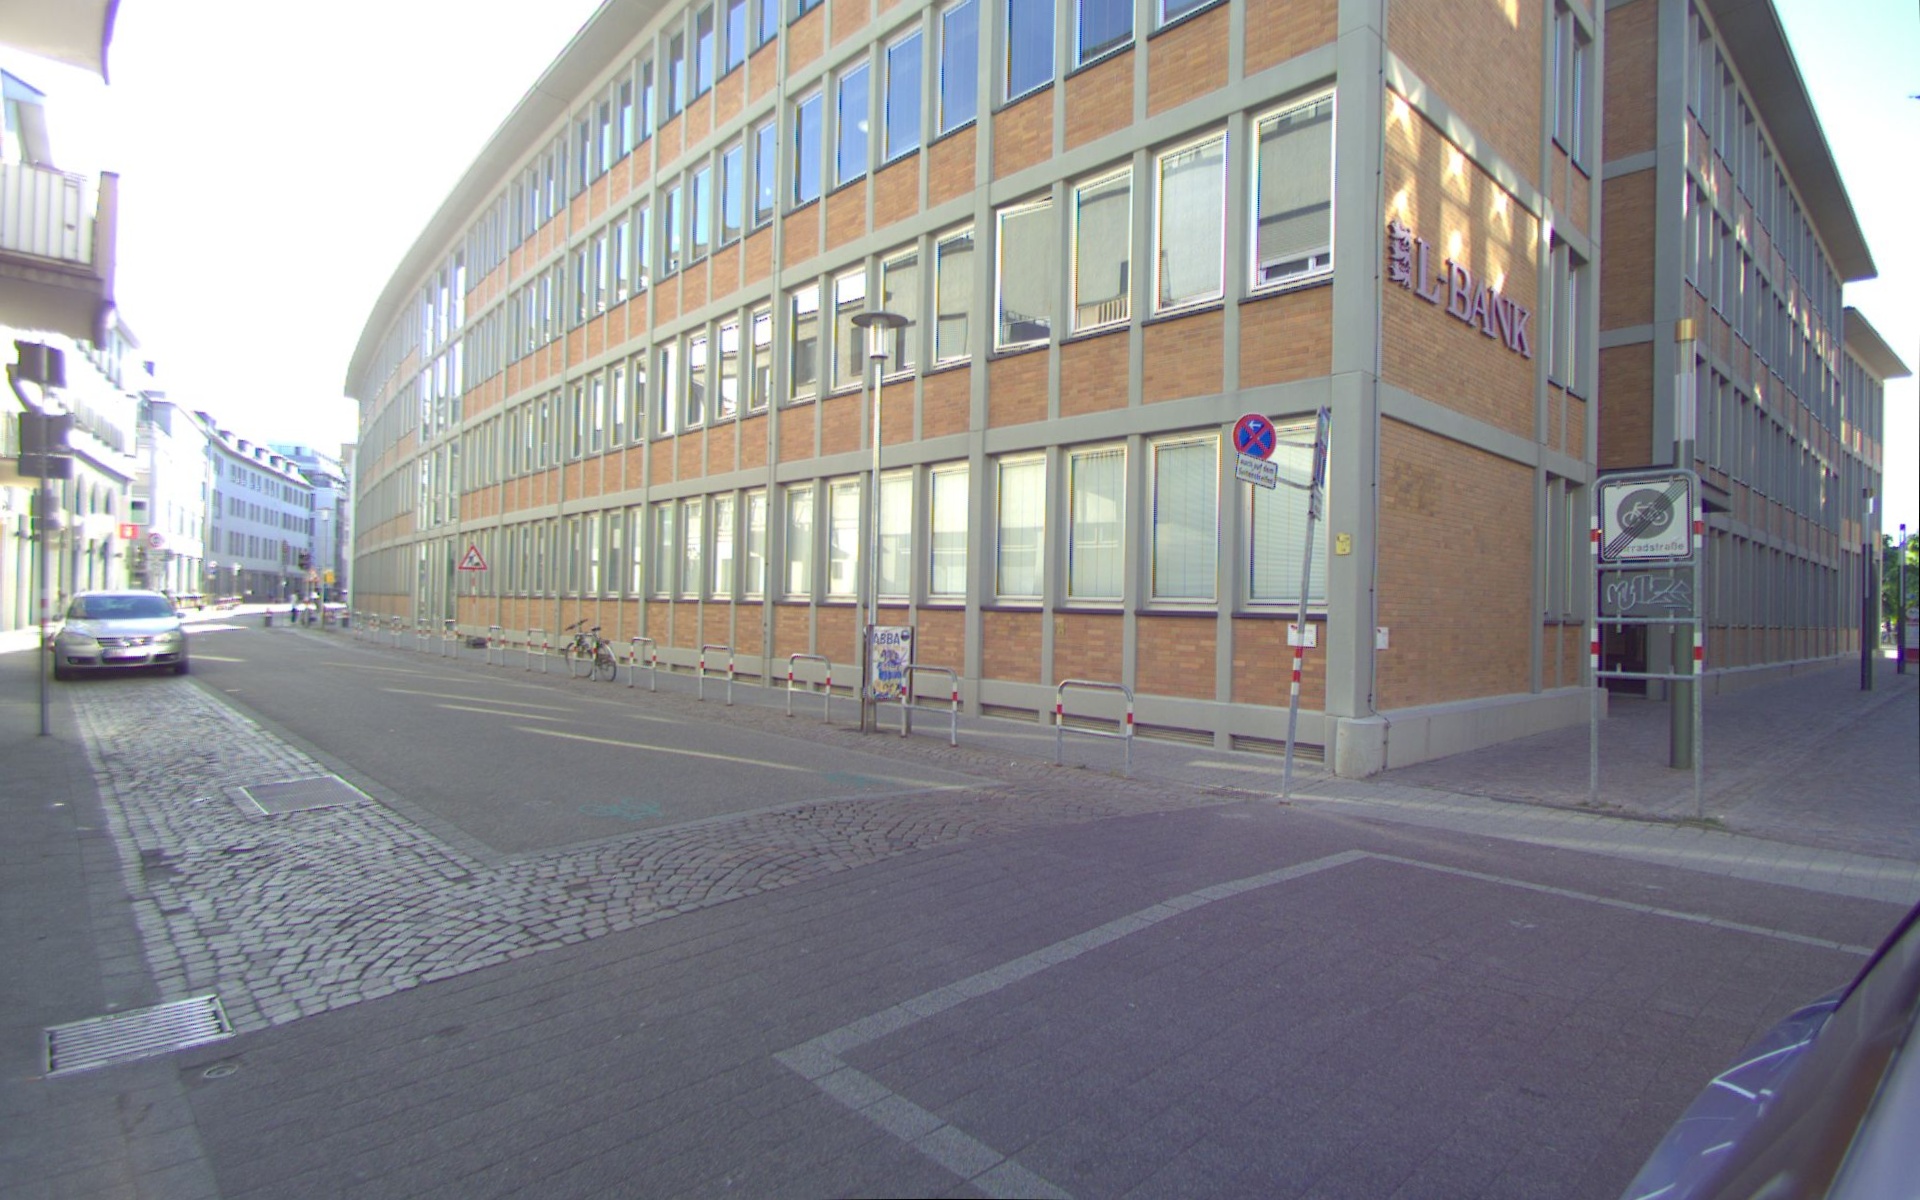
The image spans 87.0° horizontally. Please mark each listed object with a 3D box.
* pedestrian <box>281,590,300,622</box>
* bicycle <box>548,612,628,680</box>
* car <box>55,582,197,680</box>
[{"bbox_3d":[-31.204,0.272,47.143,0.648,1.459,0.595,1,-1,-41],"label":"pedestrian"},{"bbox_3d":[-6.719,0.796,18.227,0.627,1.130,1.926,1,0,-43],"label":"bicycle"},{"bbox_3d":[-14.603,0.448,17.657,1.741,1.488,3.806,-1,2,-42],"label":"car"}]
